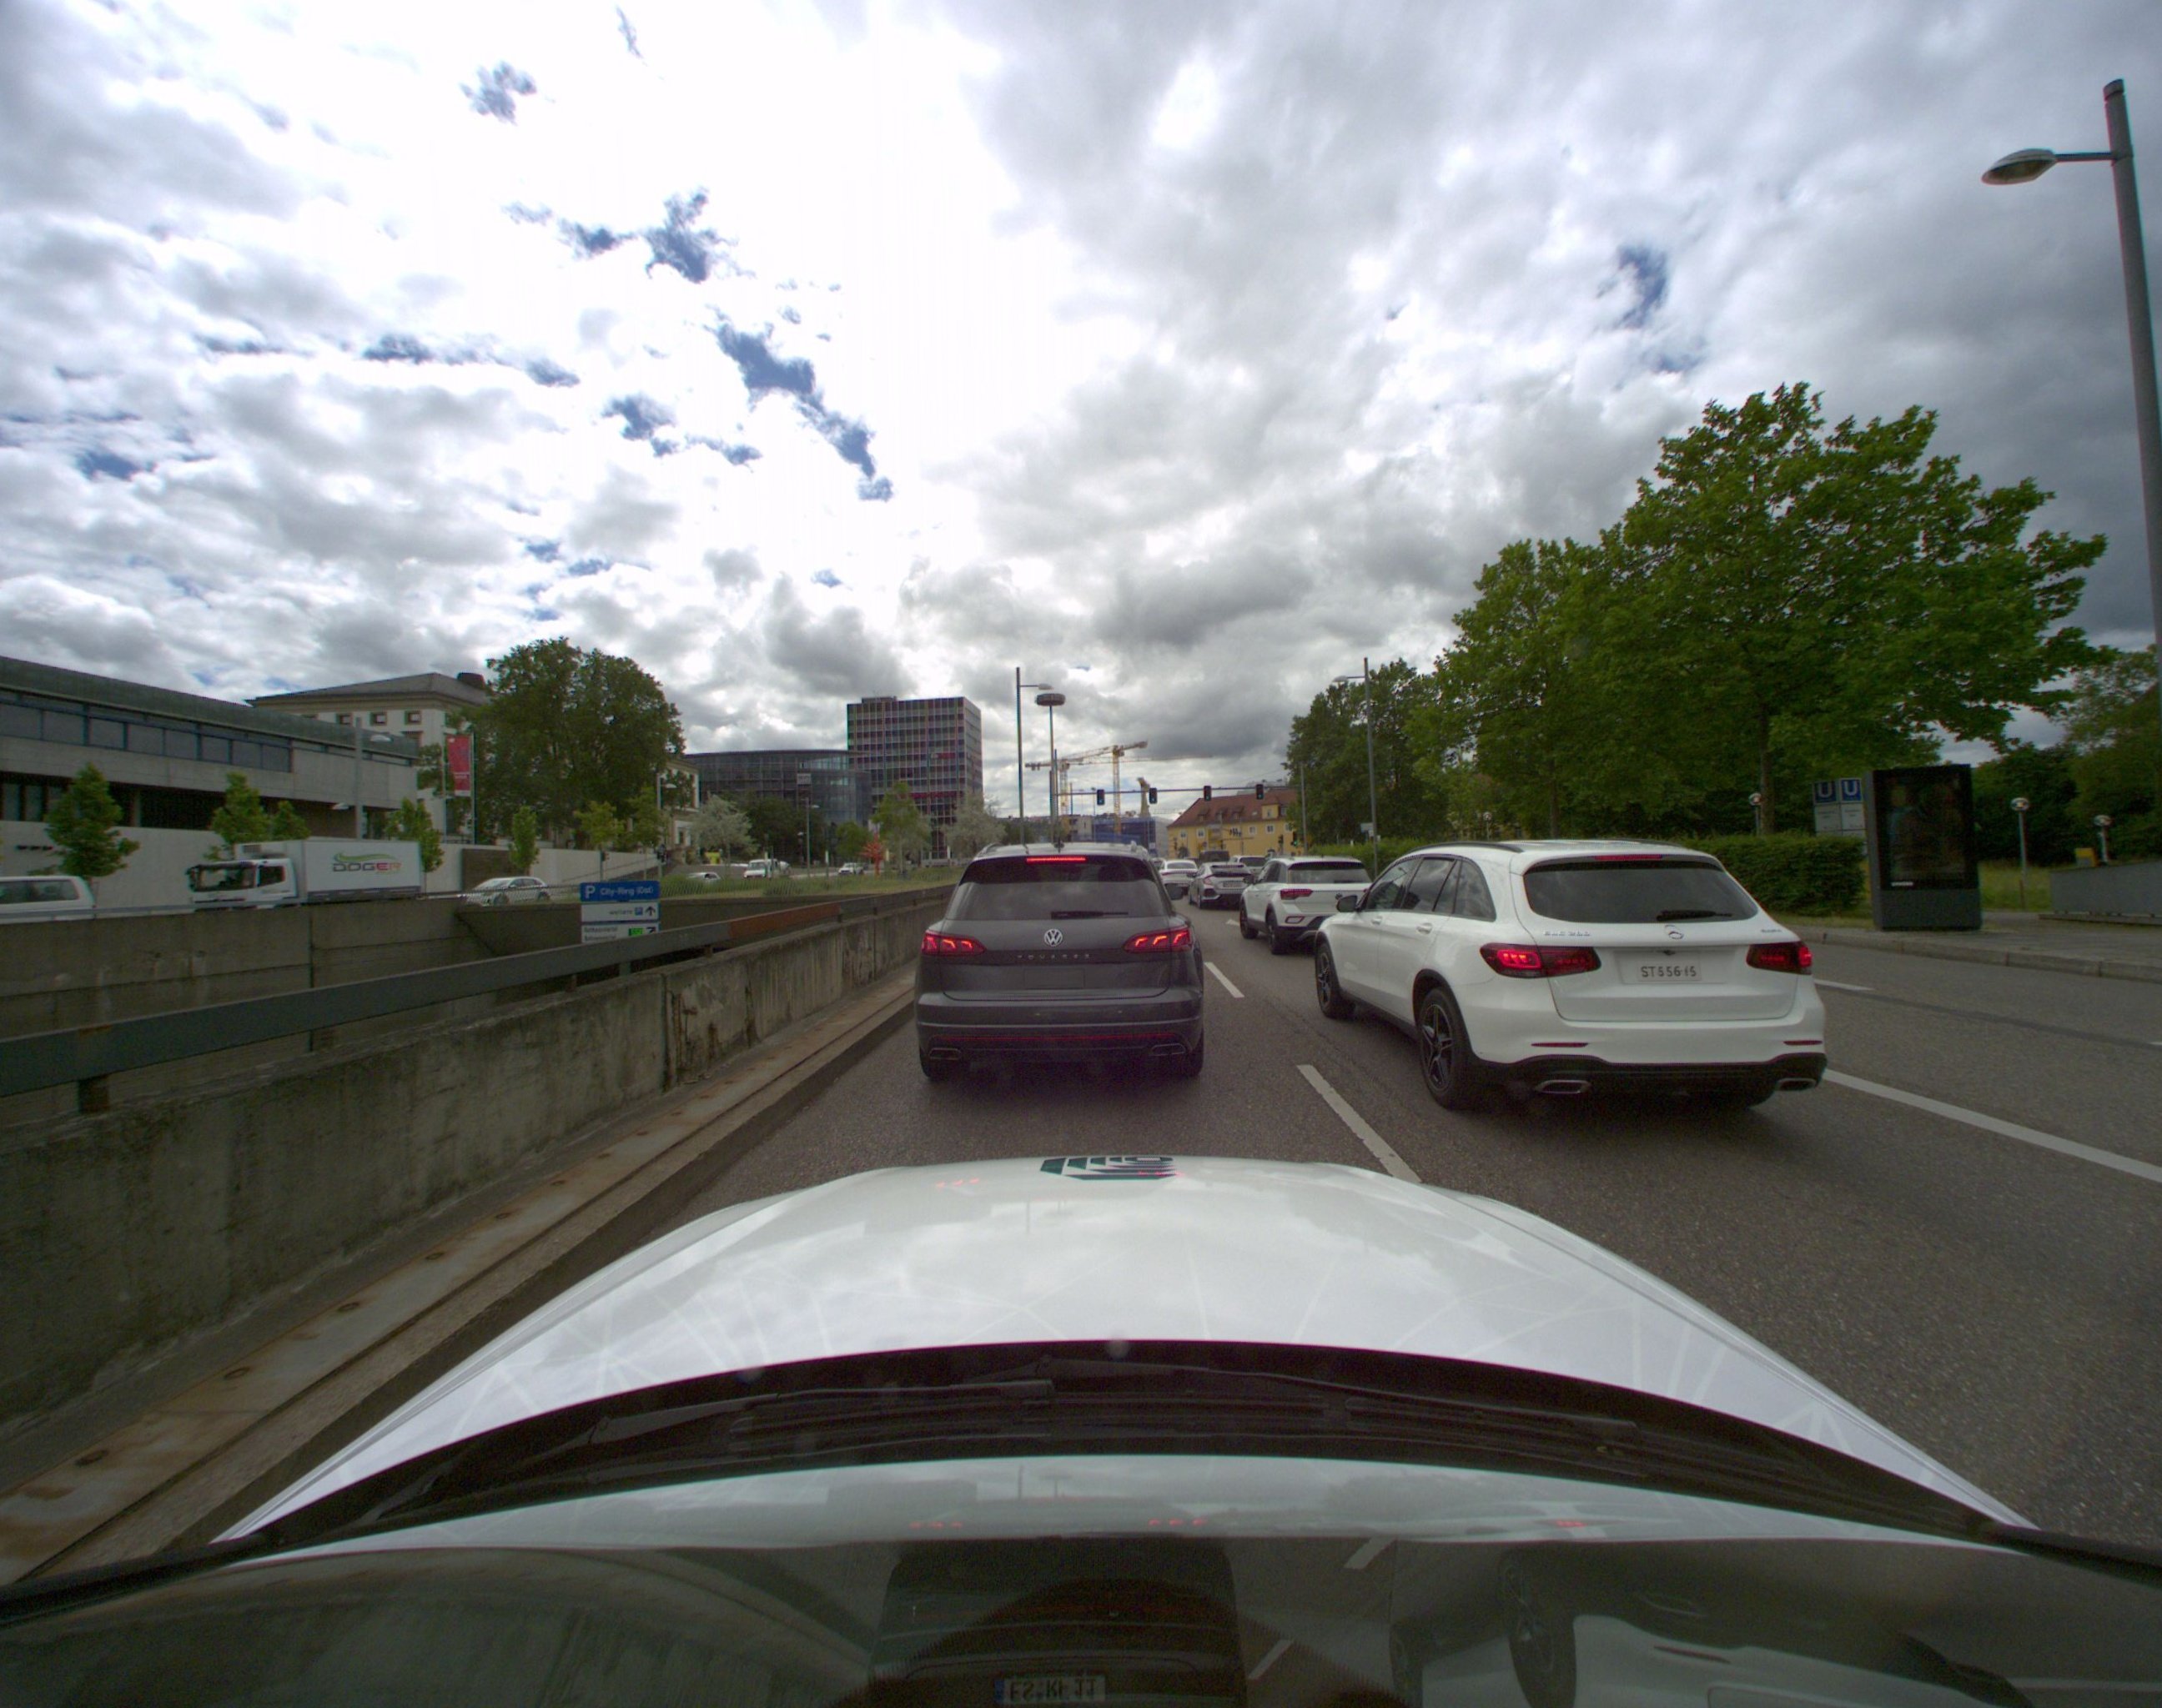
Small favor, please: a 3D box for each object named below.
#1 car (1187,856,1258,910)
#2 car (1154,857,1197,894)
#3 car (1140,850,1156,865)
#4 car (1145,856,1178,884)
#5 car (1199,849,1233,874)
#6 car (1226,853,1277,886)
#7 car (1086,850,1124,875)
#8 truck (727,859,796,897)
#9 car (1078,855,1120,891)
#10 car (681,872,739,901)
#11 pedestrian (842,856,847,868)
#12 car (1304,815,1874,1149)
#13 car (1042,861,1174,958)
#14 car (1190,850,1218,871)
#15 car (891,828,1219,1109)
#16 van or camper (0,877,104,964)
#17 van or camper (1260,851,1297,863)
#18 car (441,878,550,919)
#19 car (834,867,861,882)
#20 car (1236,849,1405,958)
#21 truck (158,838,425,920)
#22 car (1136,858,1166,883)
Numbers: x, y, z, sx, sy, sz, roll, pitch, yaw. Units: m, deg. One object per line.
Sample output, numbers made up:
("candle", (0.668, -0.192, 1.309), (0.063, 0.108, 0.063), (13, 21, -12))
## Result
("car", (4.350, 0.846, 25.595), (1.712, 1.502, 4.147), (-1, 0, 3))
("car", (4.065, 0.895, 35.483), (1.711, 1.502, 3.987), (-1, 0, 5))
("car", (9.261, 0.477, 112.767), (1.986, 2.013, 4.002), (-1, 0, 2))
("car", (4.679, 0.923, 47.803), (1.712, 1.502, 3.984), (-1, 0, 3))
("car", (8.625, 0.477, 52.287), (1.712, 1.502, 3.984), (-1, 0, 3))
("car", (8.216, 0.703, 39.559), (1.795, 1.502, 3.984), (-1, 0, 3))
("car", (1.556, 0.510, 51.448), (2.235, 1.502, 4.615), (-1, 0, 3))
("truck", (-26.161, 1.891, 67.057), (2.453, 2.816, 7.084), (-1, 0, 3))
("car", (0.828, 0.828, 37.367), (1.807, 1.496, 3.908), (-1, 0, 2))
("car", (-26.146, 2.258, 57.521), (1.986, 1.816, 4.260), (-1, 0, 2))
("pedestrian", (-34.740, 1.175, 119.624), (0.522, 1.649, 0.650), (0, -1, 0))
("car", (3.126, 0.641, 6.256), (1.811, 1.647, 4.382), (-1, 0, 3))
("car", (0.476, 0.869, 14.470), (1.986, 1.387, 4.002), (-1, 0, 2))
("car", (9.222, 0.446, 61.321), (1.712, 1.502, 3.984), (-1, 0, 3))
("car", (-0.094, 0.682, 6.852), (1.925, 1.647, 4.002), (-1, 0, 2))
("van or camper", (-27.066, 1.656, 19.381), (1.986, 2.013, 4.559), (-1, 0, 2))
("van or camper", (34.300, 0.486, 141.659), (5.947, 2.014, 2.032), (-2, -1, 37))
("car", (-26.610, 1.973, 37.208), (1.712, 1.574, 4.274), (-1, 0, 3))
("car", (-28.028, 2.458, 98.012), (1.712, 1.574, 4.616), (-1, 0, 3))
("car", (3.907, 0.735, 13.985), (1.886, 1.585, 3.802), (-1, 0, 2))
("truck", (-30.516, 0.854, 32.082), (3.218, 2.787, 7.258), (-1, 0, 2))
("car", (5.089, 1.158, 59.185), (2.129, 1.728, 4.075), (-1, -1, 5))
